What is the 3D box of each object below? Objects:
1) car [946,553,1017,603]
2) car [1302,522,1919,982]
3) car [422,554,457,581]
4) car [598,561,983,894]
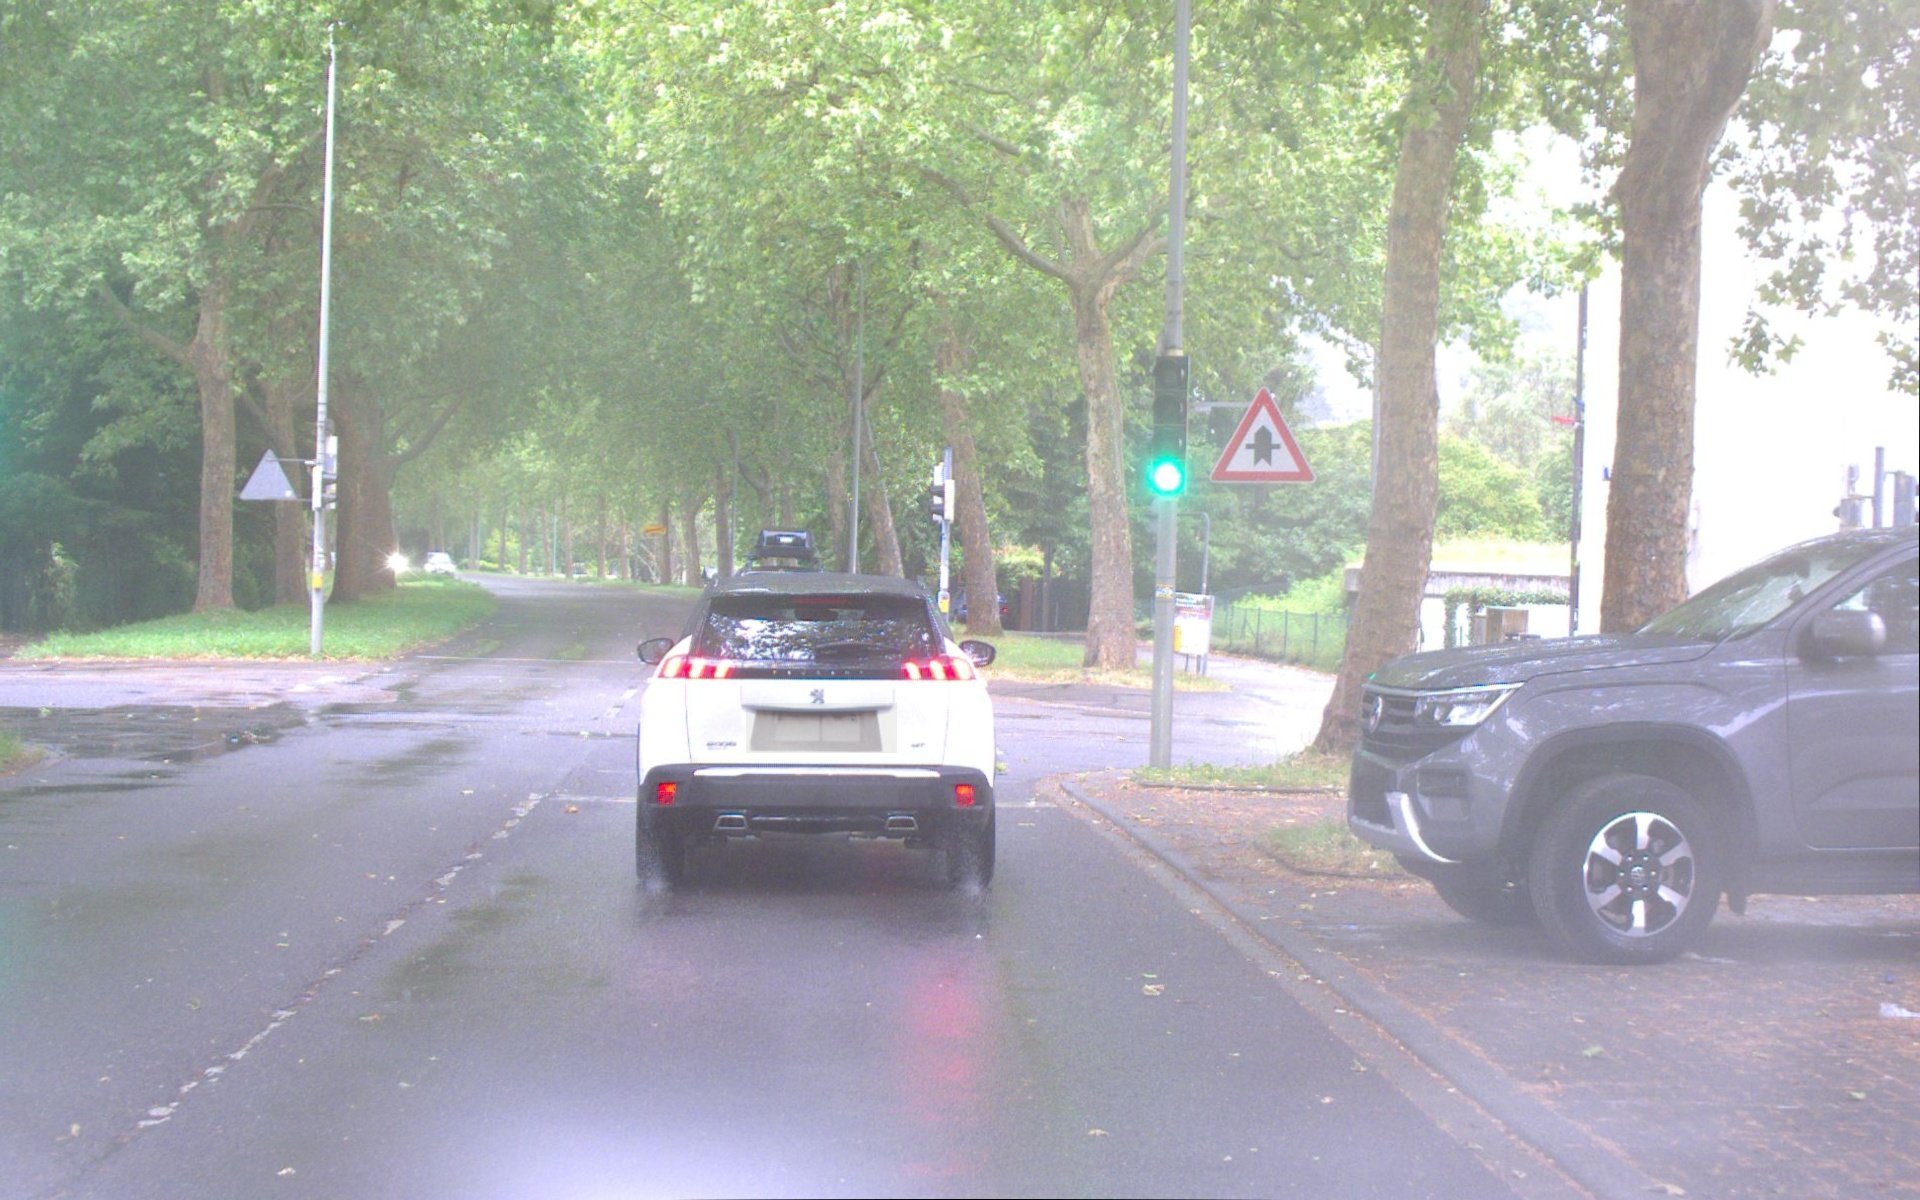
[{"bbox_3d":[0.668,-0.716,110.441,1.905,1.505,3.932,2,0,-5],"label":"car"},{"bbox_3d":[4.288,0.593,14.704,5.337,1.800,1.845,0,0,-7],"label":"car"},{"bbox_3d":[-32.599,-2.037,215.477,1.873,1.671,3.708,2,0,-5],"label":"car"},{"bbox_3d":[-0.831,0.610,18.172,1.780,1.531,4.057,1,0,-1],"label":"car"}]
